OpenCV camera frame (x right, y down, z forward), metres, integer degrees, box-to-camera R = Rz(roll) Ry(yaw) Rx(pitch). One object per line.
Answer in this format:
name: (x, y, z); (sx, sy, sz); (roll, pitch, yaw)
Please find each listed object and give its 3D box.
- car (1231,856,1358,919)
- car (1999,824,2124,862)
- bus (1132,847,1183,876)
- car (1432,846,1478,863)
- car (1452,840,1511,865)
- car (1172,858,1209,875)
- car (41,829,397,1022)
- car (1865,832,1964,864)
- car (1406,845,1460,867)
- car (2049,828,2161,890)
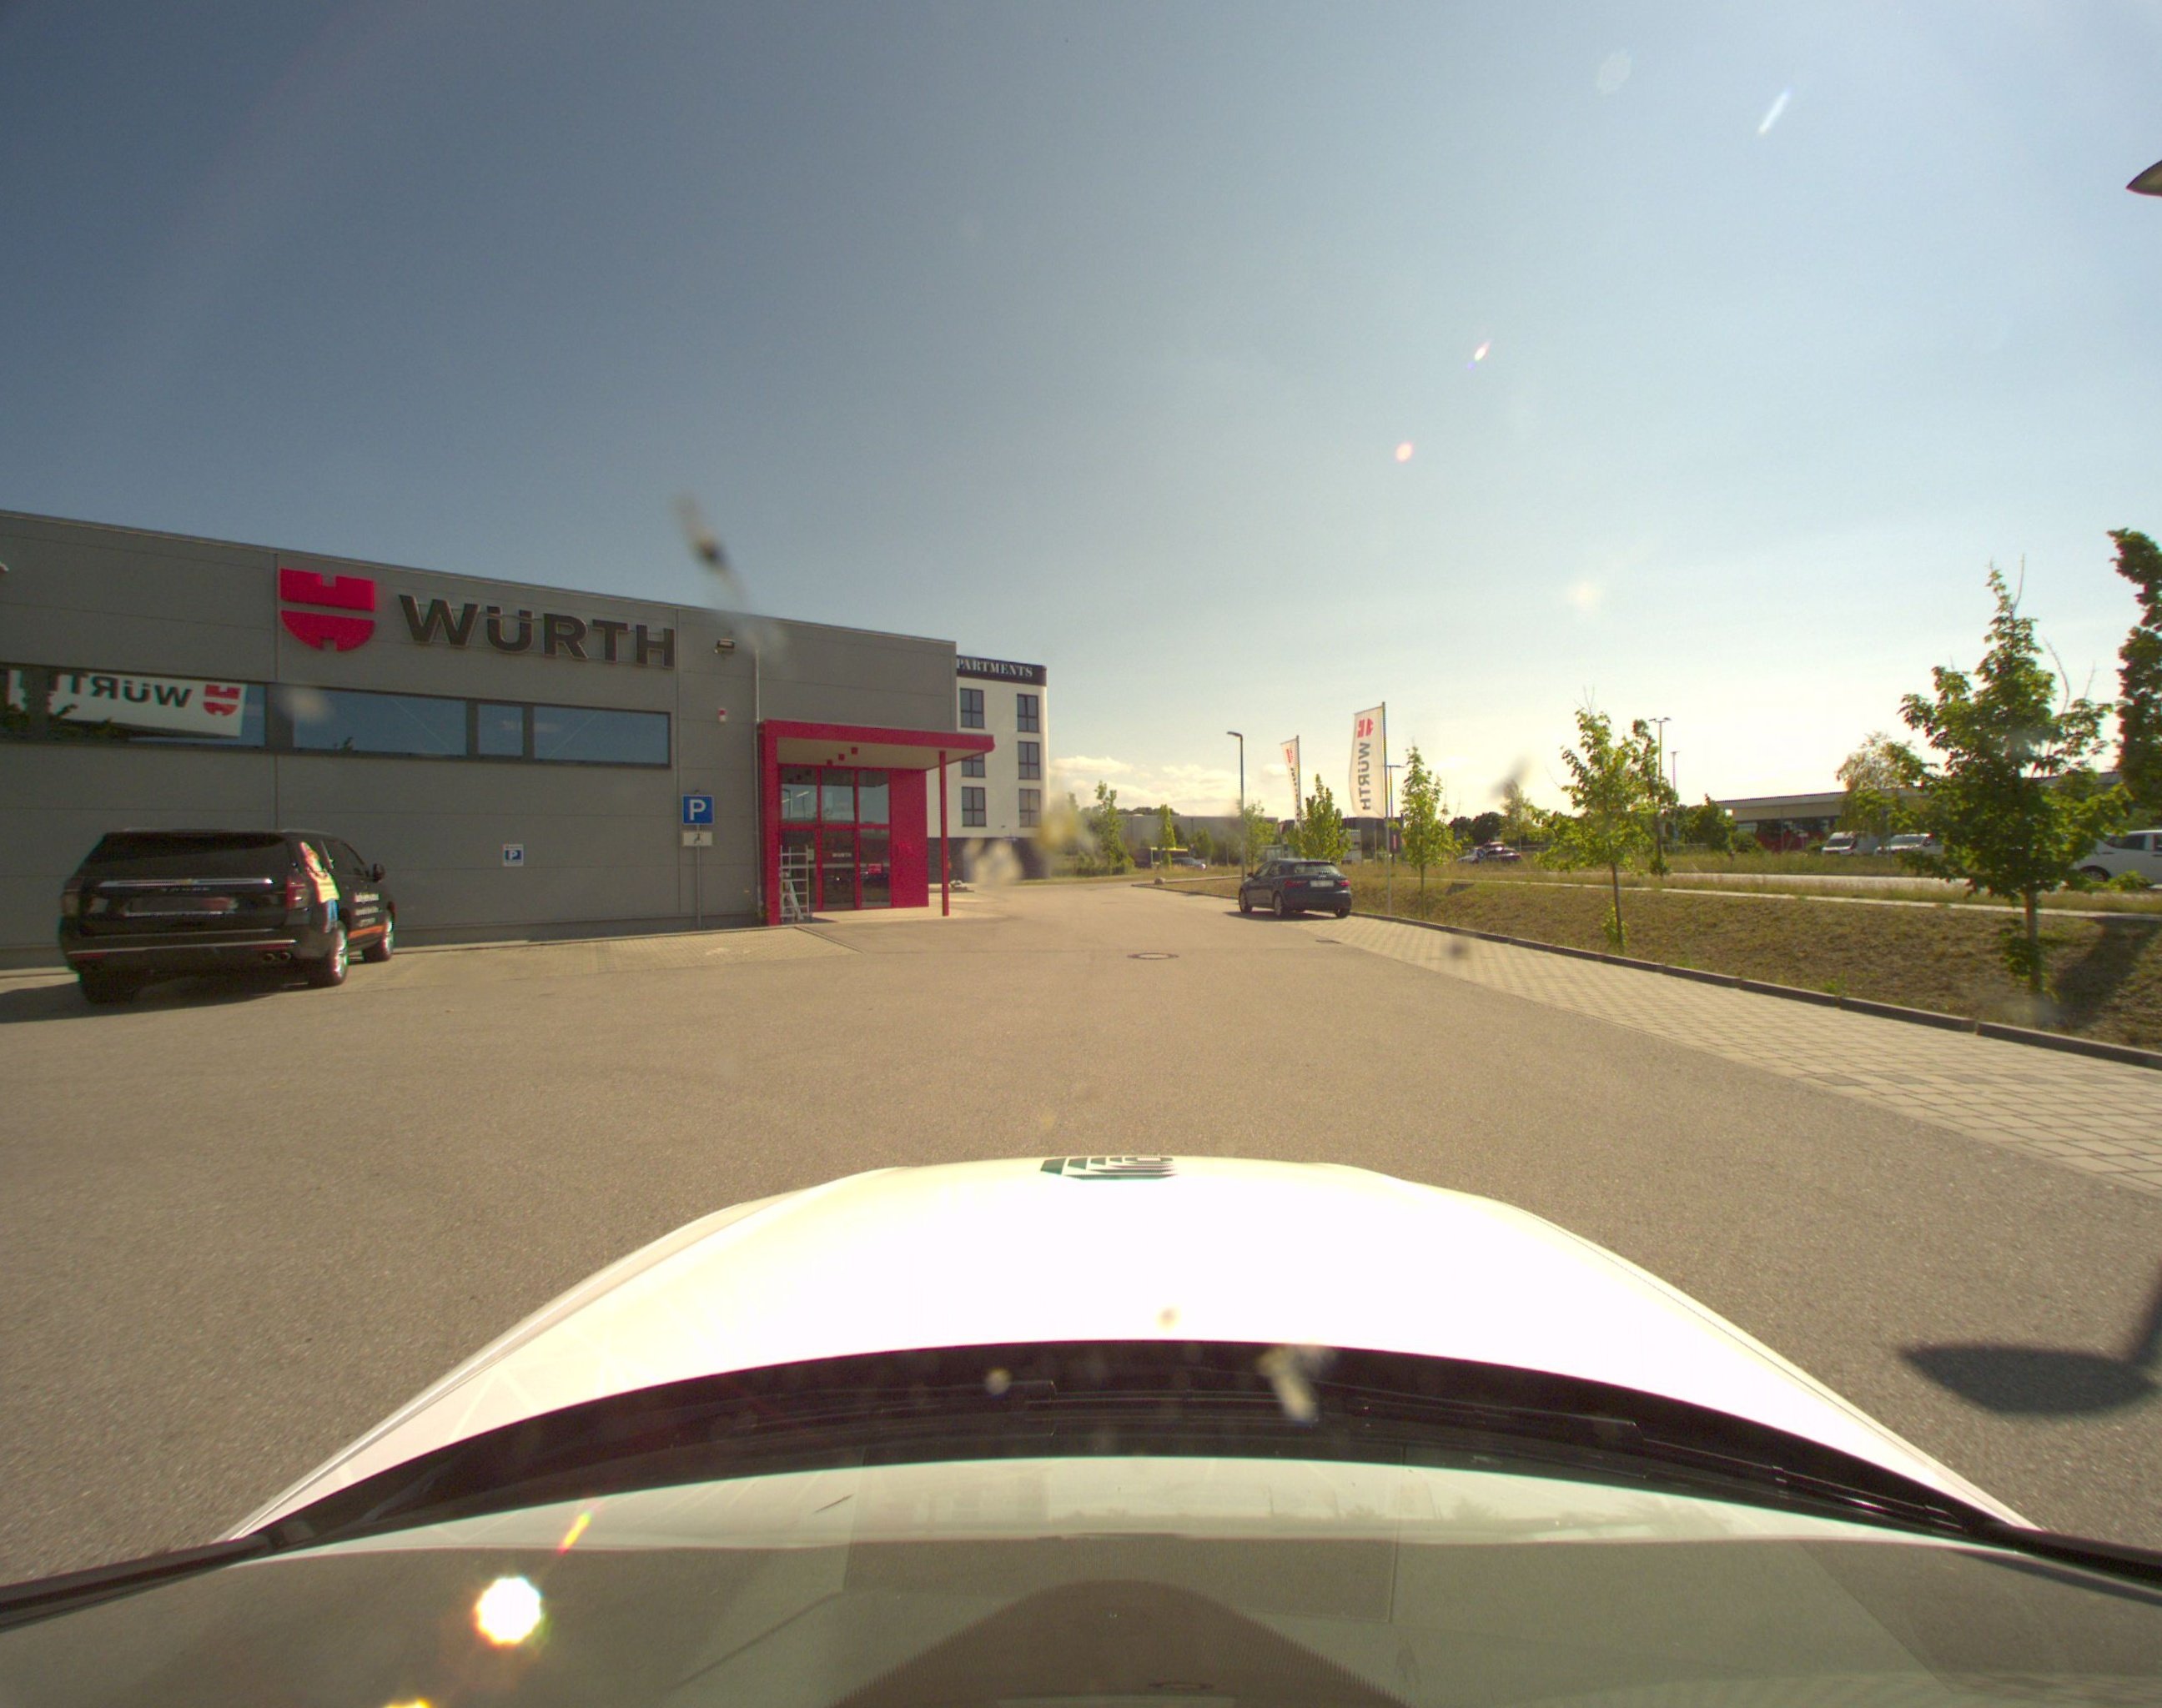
car: (5.218, 0.759, 20.432); (1.697, 1.406, 3.886); (-1, 0, -8)
car: (47.840, -0.520, 39.778); (4.409, 1.726, 1.994); (-1, 0, -10)
bus: (10.440, 0.915, 109.116); (2.543, 3.557, 11.320); (-1, 0, 28)
car: (32.144, 0.034, 70.034); (3.723, 1.395, 1.576); (-1, 0, -26)
car: (27.908, -0.117, 56.776); (3.669, 1.598, 1.702); (-1, 0, -22)
car: (9.896, 1.119, 73.854); (1.721, 1.443, 3.682); (-1, 0, -21)
car: (-10.604, 0.694, 10.555); (2.086, 1.880, 4.828); (-1, 0, -33)
car: (45.626, -0.327, 44.624); (3.649, 1.618, 1.838); (-1, 0, -3)
car: (26.912, 0.148, 62.332); (3.669, 1.598, 1.702); (-1, 0, -22)
car: (26.797, 0.100, 19.730); (1.869, 1.483, 3.994); (-1, 0, -4)
